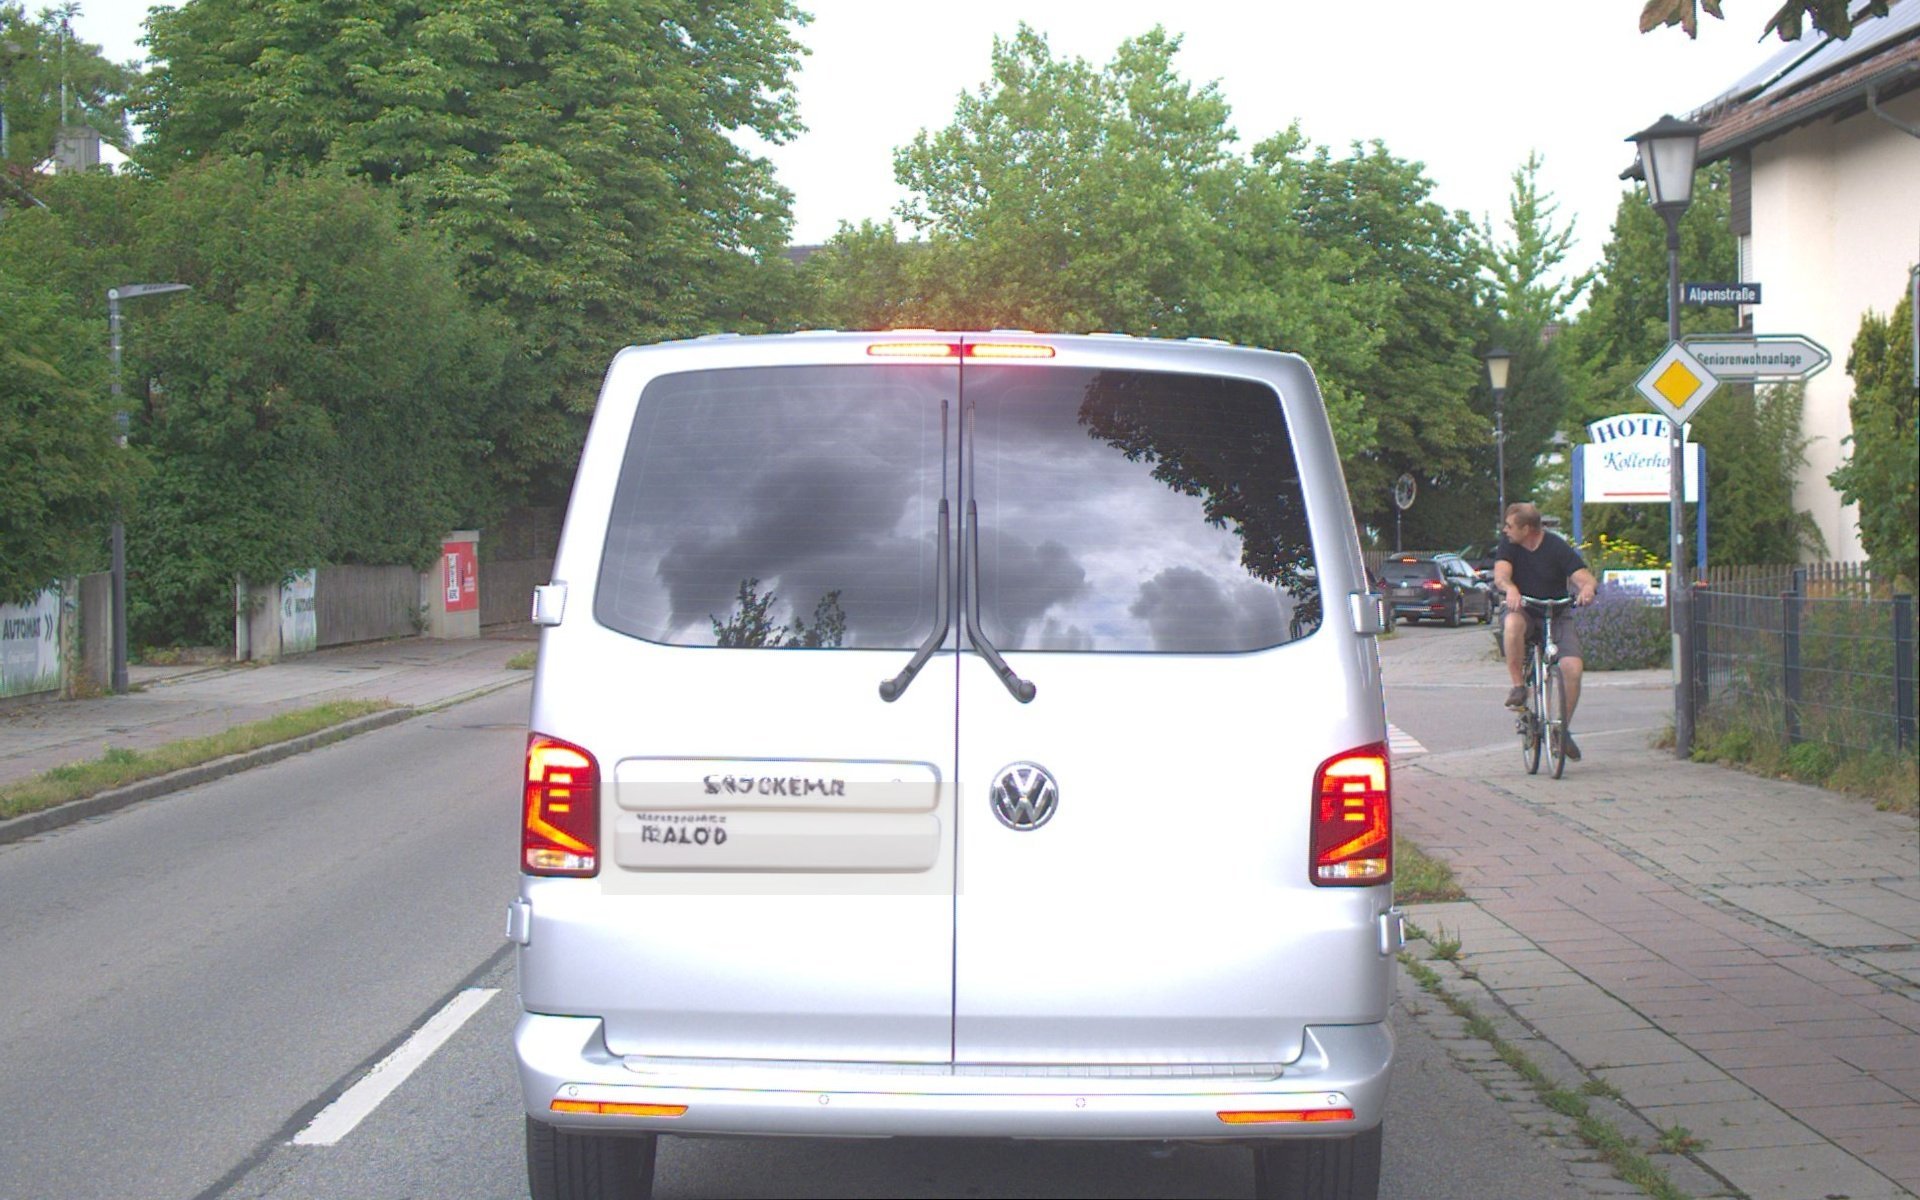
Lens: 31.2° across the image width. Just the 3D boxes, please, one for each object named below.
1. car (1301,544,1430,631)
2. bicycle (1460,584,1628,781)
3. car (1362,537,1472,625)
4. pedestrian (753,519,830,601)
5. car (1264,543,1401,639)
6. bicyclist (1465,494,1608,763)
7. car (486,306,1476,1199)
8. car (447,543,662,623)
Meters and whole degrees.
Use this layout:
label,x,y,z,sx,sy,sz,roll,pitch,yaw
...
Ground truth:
label,x,y,z,sx,sy,sz,roll,pitch,yaw
car,7.479,-0.250,63.102,1.882,1.530,3.918,0,1,14
bicycle,3.592,0.484,21.285,0.764,1.139,1.845,0,1,1
car,9.335,-0.407,70.006,1.882,1.742,4.078,0,1,12
pedestrian,-3.729,-0.899,76.149,1.319,1.796,1.069,-1,1,-40
car,6.217,-0.178,57.126,1.882,1.530,3.919,0,1,12
bicyclist,3.564,0.166,21.303,0.736,1.627,0.890,0,1,1
car,0.059,0.381,8.525,1.881,1.934,3.921,0,1,1
car,-7.672,-0.338,64.945,3.986,1.481,2.001,0,1,-8
